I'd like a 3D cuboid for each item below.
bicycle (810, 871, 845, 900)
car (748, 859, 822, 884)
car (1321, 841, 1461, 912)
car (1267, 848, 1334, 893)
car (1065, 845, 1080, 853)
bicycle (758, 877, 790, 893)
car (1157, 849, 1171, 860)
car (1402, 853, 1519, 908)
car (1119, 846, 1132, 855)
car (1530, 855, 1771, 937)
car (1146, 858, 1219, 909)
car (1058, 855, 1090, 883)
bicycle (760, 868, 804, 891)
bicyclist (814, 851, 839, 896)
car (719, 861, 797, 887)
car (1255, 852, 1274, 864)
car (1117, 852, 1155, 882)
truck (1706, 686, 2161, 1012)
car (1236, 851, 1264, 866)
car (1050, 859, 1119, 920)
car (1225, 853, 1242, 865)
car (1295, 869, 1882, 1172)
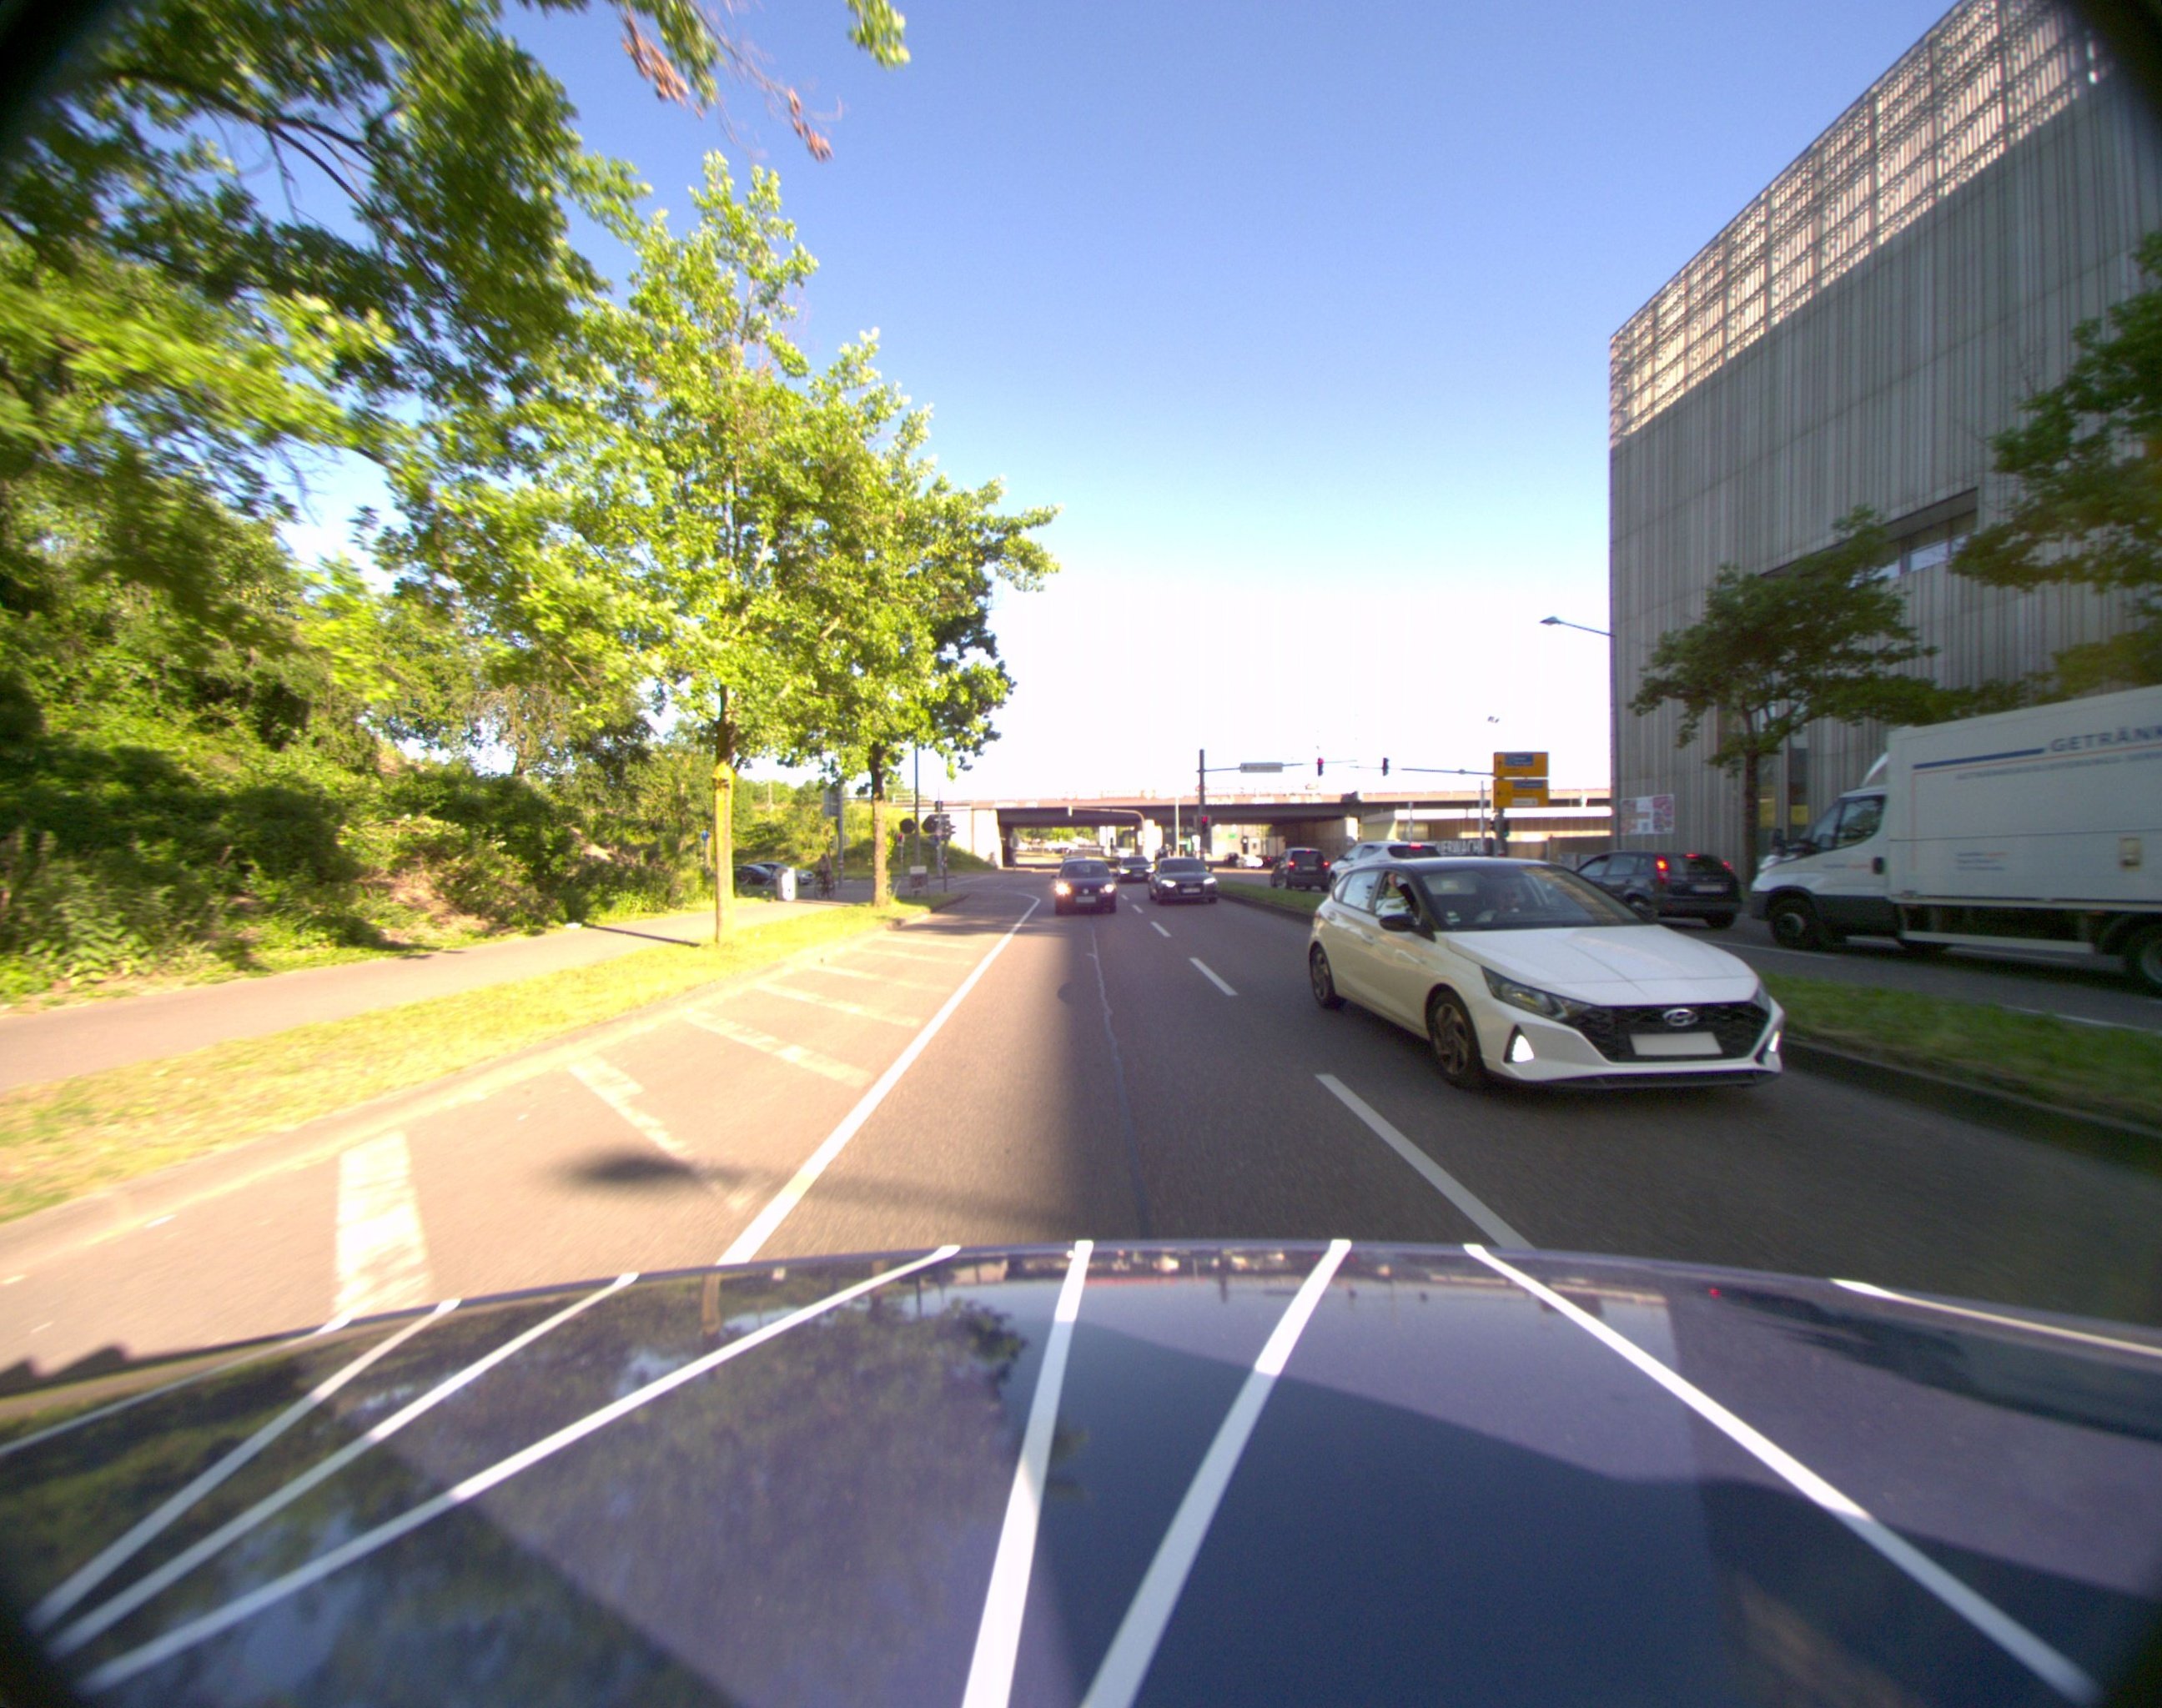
[{"bbox_3d":[-9.155,1.122,27.514,0.573,0.986,2.046,-1,0,0],"label":"bicycle"},{"bbox_3d":[-19.116,1.133,49.178,3.995,1.467,1.817,-1,2,5],"label":"car"},{"bbox_3d":[8.160,0.527,20.545,1.828,1.672,4.658,1,0,0],"label":"car"},{"bbox_3d":[8.106,0.553,28.278,1.605,1.571,3.212,0,1,1],"label":"car"},{"bbox_3d":[-1.774,-0.993,160.048,1.818,1.687,3.992,-3,1,-24],"label":"car"},{"bbox_3d":[-13.363,1.348,33.034,0.844,0.618,2.190,1,-1,-34],"label":"bicycle"},{"bbox_3d":[12.321,0.104,112.674,1.632,1.531,4.000,1,0,1],"label":"car"},{"bbox_3d":[11.096,0.716,22.501,1.624,1.461,3.640,1,0,0],"label":"car"},{"bbox_3d":[7.841,-0.658,134.802,1.728,1.531,3.998,1,0,-4],"label":"car"},{"bbox_3d":[11.162,0.742,15.315,1.840,1.415,4.000,0,0,0],"label":"car"},{"bbox_3d":[3.113,0.851,24.078,1.702,1.396,4.364,-1,0,0],"label":"car"},{"bbox_3d":[-0.405,0.800,42.923,1.702,1.478,3.946,-1,0,0],"label":"car"},{"bbox_3d":[-14.018,1.188,35.594,1.993,1.046,0.455,-1,1,12],"label":"bicycle"},{"bbox_3d":[-9.152,0.700,27.347,0.566,1.600,0.865,-1,1,0],"label":"bicyclist"},{"bbox_3d":[-19.840,1.218,46.737,3.995,1.467,1.805,-1,2,4],"label":"car"},{"bbox_3d":[20.721,0.437,85.765,1.493,1.403,3.939,0,1,5],"label":"car"},{"bbox_3d":[2.931,0.652,41.023,1.702,1.528,3.946,-1,0,0],"label":"car"},{"bbox_3d":[11.113,-0.029,8.301,2.693,2.943,7.113,1,0,1],"label":"truck"},{"bbox_3d":[17.293,0.472,77.849,1.707,1.433,4.880,0,0,0],"label":"car"},{"bbox_3d":[0.074,0.915,21.367,1.702,1.474,4.052,-2,0,0],"label":"car"},{"bbox_3d":[20.043,0.618,99.878,1.571,1.524,3.426,-1,0,0],"label":"car"},{"bbox_3d":[3.151,0.883,5.885,1.783,1.400,4.074,-2,0,-1],"label":"car"}]
